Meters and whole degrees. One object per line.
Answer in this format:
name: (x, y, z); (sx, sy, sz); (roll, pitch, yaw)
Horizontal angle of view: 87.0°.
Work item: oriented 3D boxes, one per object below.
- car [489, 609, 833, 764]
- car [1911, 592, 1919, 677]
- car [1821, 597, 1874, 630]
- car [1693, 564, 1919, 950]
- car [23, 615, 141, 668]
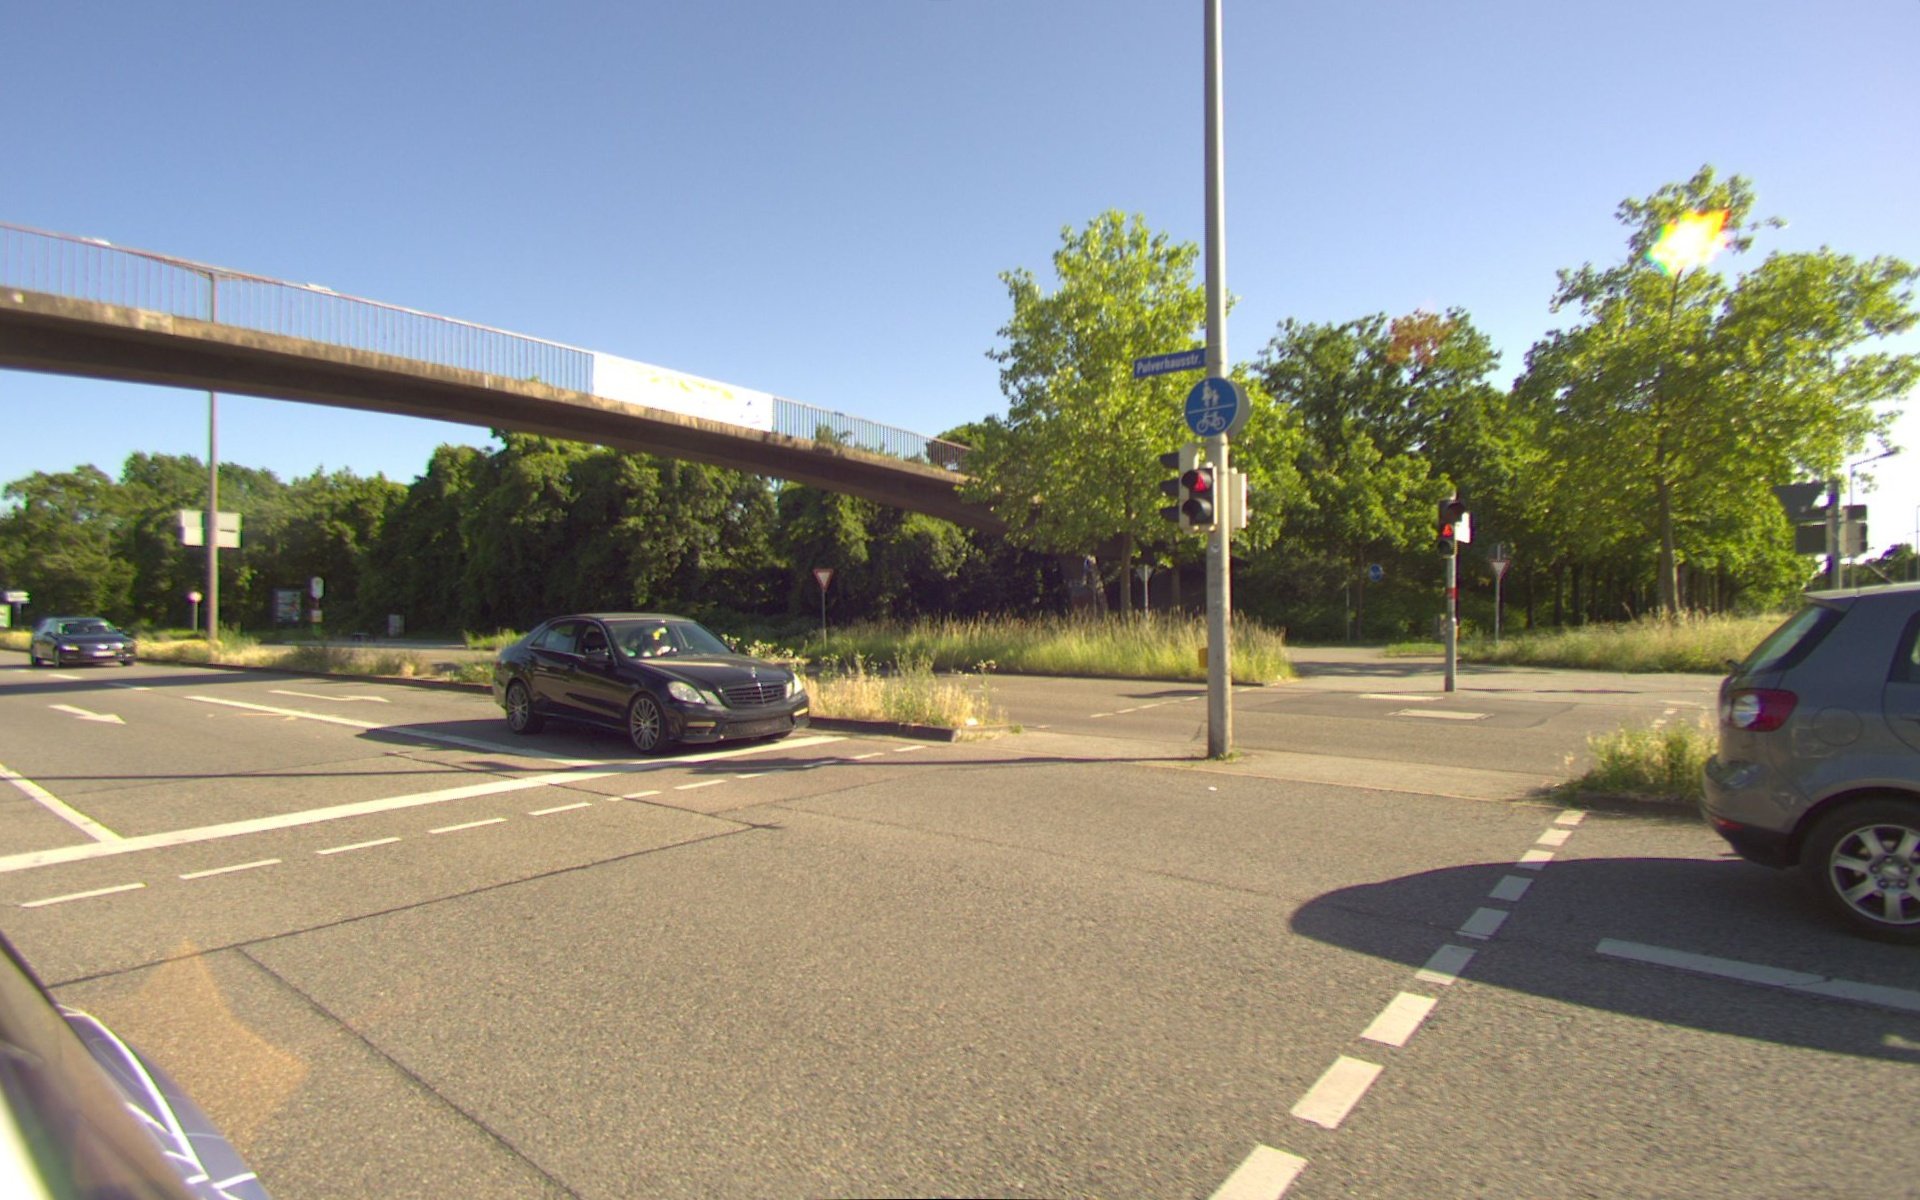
car: (-3.675, 0.898, 11.975); (4.527, 1.498, 1.756); (-2, -2, 41)
car: (20.081, 0.696, 19.759); (1.775, 1.768, 3.949); (-1, -1, 37)
car: (43.738, 0.655, 49.945); (1.851, 1.572, 3.873); (-1, -1, 40)
car: (5.609, 0.648, 3.875); (4.385, 1.582, 1.822); (-1, -1, 42)
car: (-26.516, 1.226, 30.535); (3.992, 1.507, 1.775); (-2, -2, 35)
